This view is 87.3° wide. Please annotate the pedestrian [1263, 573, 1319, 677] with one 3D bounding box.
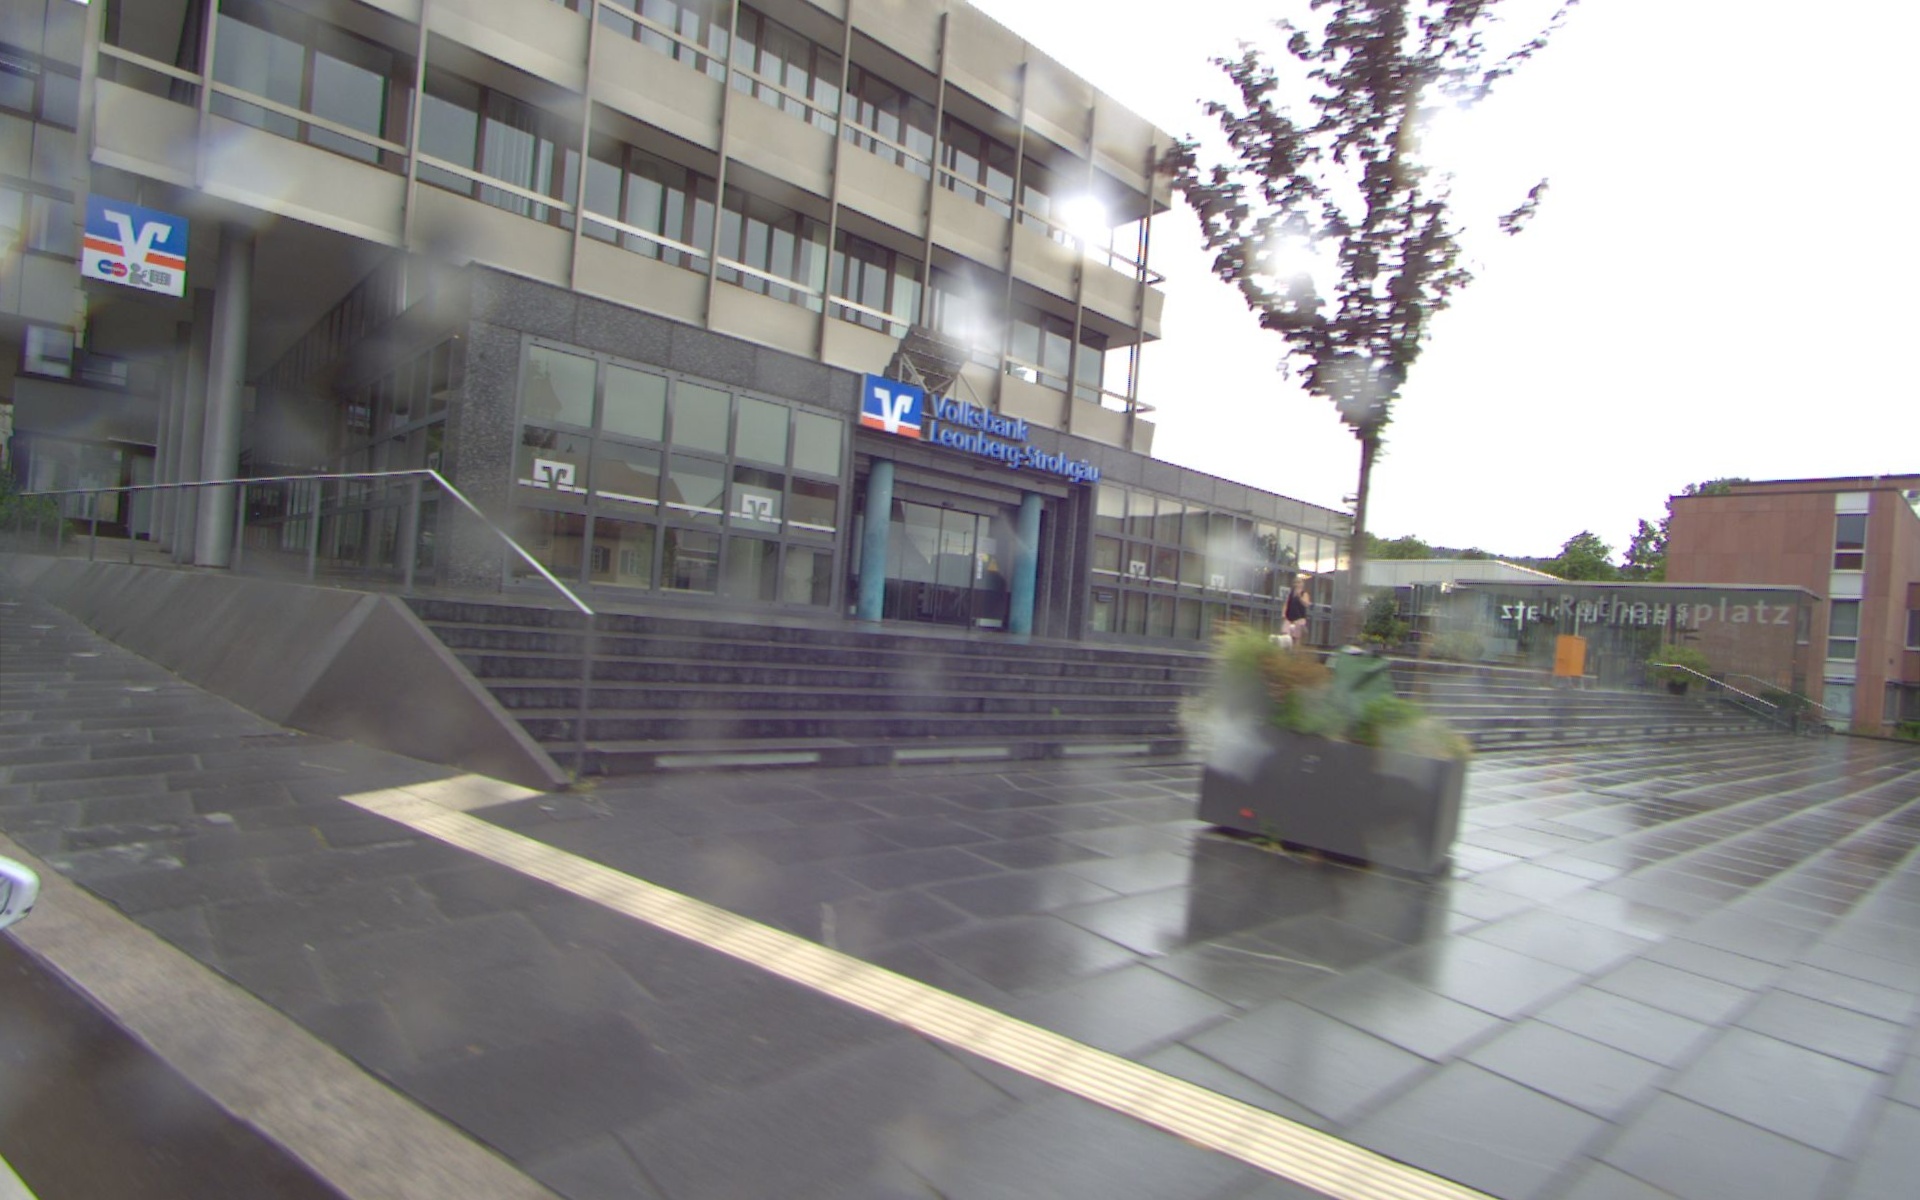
[{"bbox_3d":[7.131,0.542,21.678,0.753,2.175,0.652,4,2,-37],"label":"pedestrian"}]
